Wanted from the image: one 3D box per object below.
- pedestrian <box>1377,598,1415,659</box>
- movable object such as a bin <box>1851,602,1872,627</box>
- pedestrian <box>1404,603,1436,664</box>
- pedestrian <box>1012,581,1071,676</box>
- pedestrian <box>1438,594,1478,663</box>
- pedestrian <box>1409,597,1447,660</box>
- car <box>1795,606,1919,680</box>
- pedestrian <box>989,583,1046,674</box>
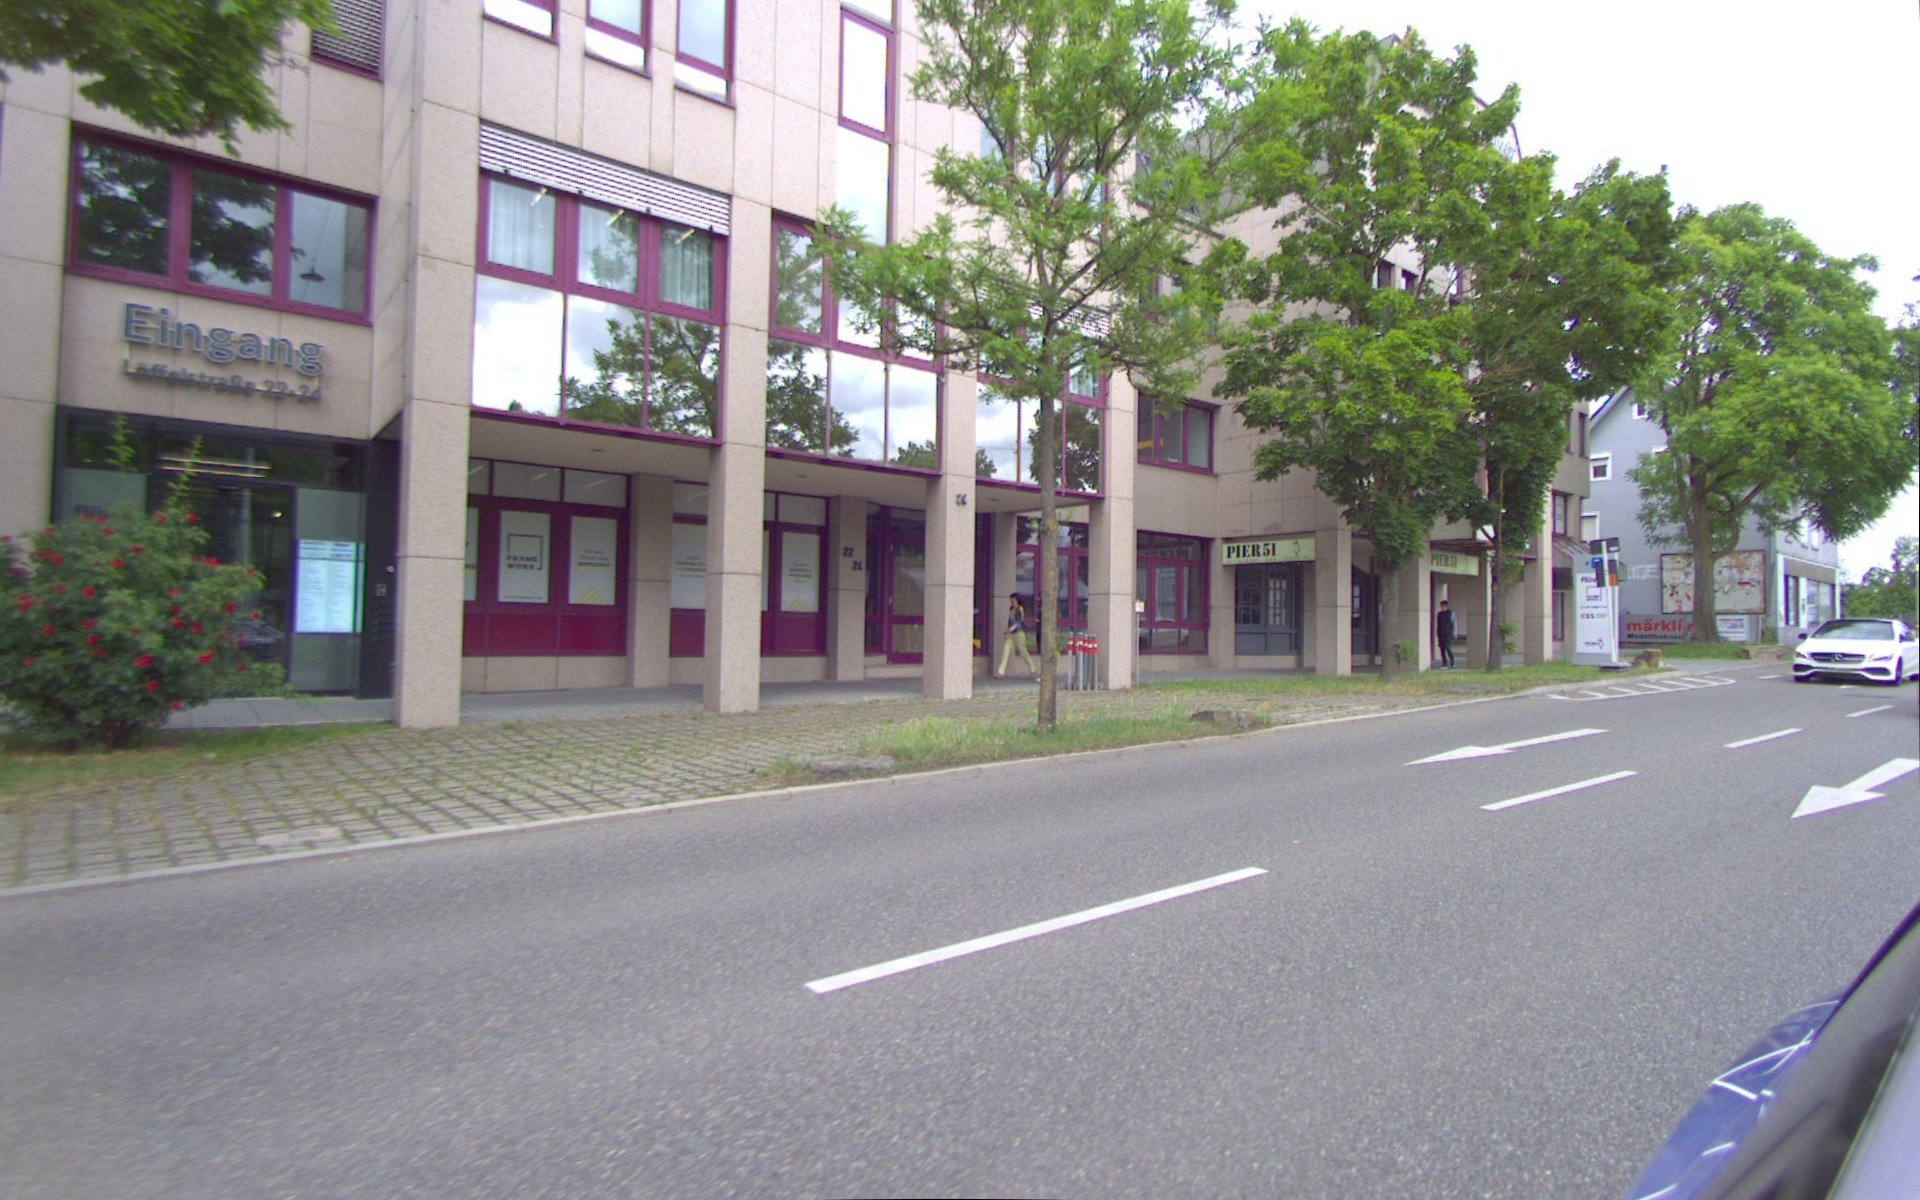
[{"bbox_3d":[12.516,0.814,29.066,0.827,1.712,0.659,1,1,-38],"label":"pedestrian"},{"bbox_3d":[41.314,0.659,46.387,0.697,1.118,0.610,1,-2,-39],"label":"movable object such as a bin"},{"bbox_3d":[12.158,0.879,26.744,0.534,1.569,0.562,1,1,-38],"label":"pedestrian"},{"bbox_3d":[1.528,0.528,18.960,0.951,1.726,0.596,1,-1,-37],"label":"pedestrian"},{"bbox_3d":[13.660,0.760,27.778,0.827,1.849,0.659,1,1,-38],"label":"pedestrian"},{"bbox_3d":[13.134,0.786,28.407,0.827,1.712,0.659,1,1,-38],"label":"pedestrian"},{"bbox_3d":[20.630,0.888,22.818,4.613,1.491,1.798,0,0,-38],"label":"car"},{"bbox_3d":[1.111,0.538,19.554,0.951,1.726,0.596,1,-1,-37],"label":"pedestrian"}]
